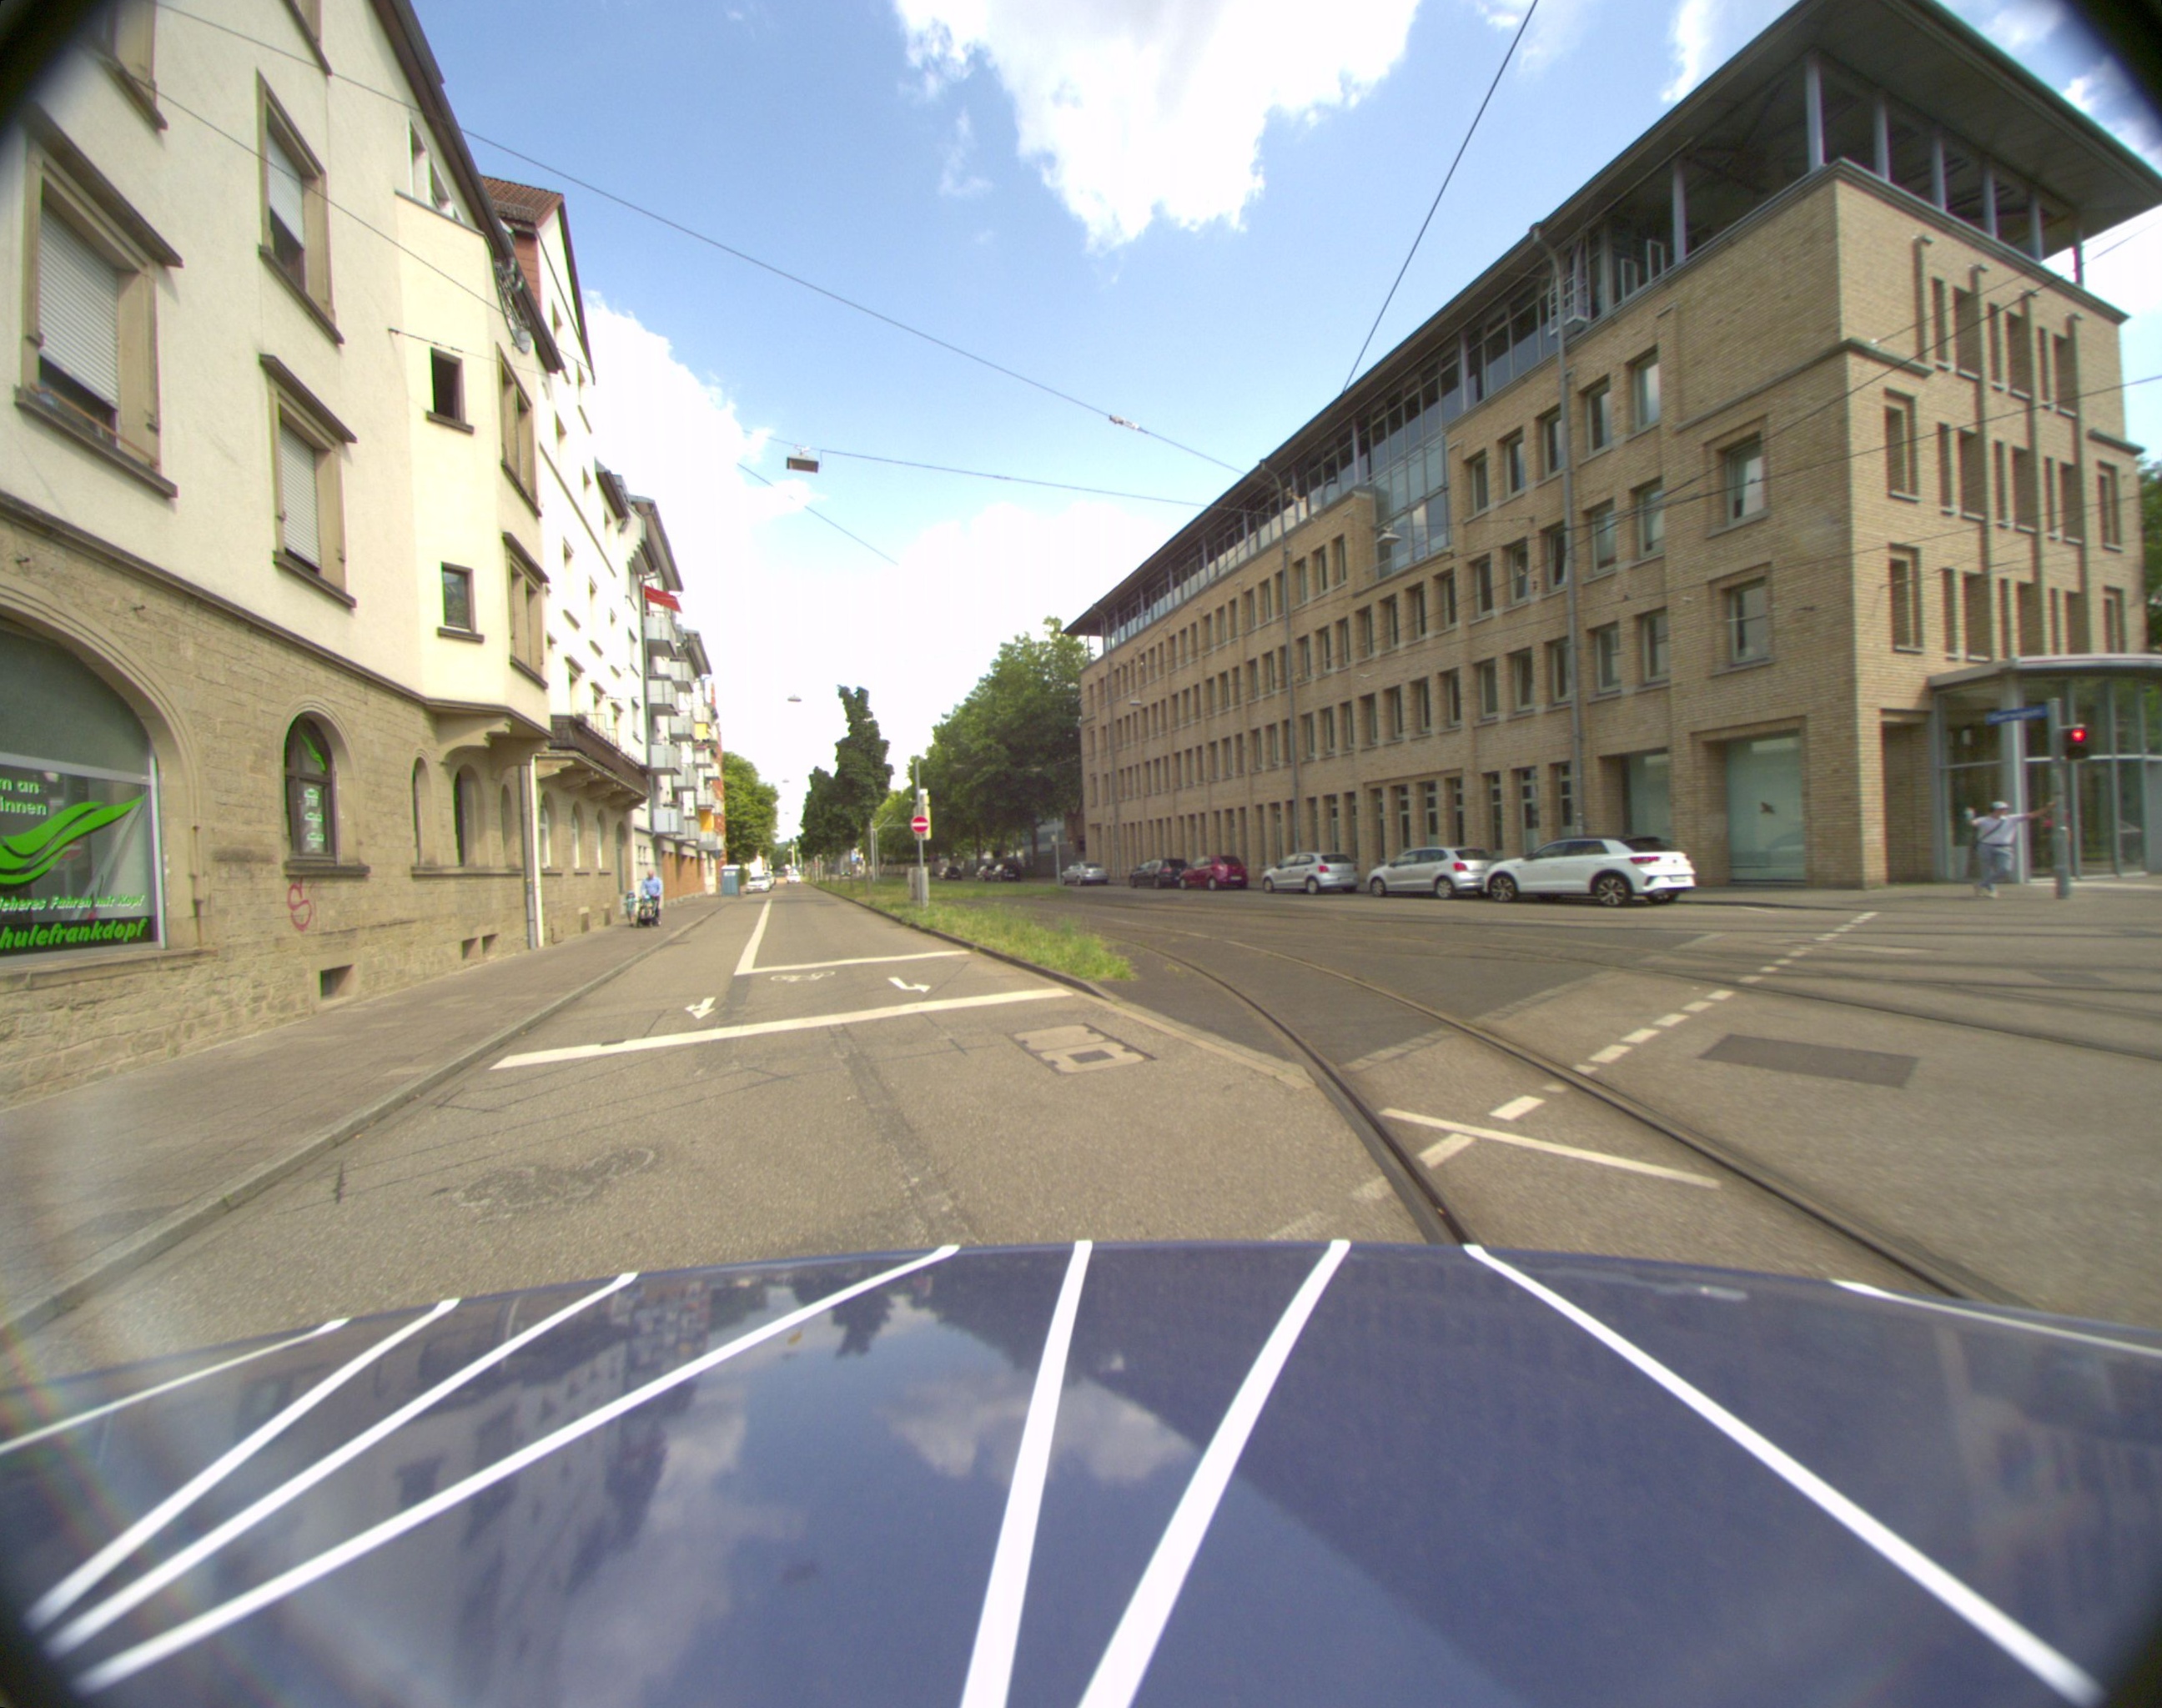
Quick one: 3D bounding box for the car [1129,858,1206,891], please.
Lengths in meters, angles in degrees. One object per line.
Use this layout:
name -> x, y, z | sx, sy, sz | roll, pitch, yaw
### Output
car -> 4.045, 0.965, 36.224 | 1.941, 1.388, 4.232 | -2, 0, -20

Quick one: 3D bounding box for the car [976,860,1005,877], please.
car -> -8.020, 1.282, 67.332 | 1.561, 1.417, 3.895 | -2, 0, -21

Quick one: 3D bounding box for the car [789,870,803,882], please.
car -> -41.661, 3.182, 111.132 | 1.804, 1.521, 4.034 | -4, 0, -21

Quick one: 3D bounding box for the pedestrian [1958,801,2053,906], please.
pedestrian -> 16.384, -0.001, 13.494 | 0.957, 1.785, 0.764 | -2, 1, 44

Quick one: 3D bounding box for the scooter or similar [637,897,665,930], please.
scooter or similar -> -13.401, 1.846, 23.672 | 0.595, 0.996, 0.904 | 2, -1, -20

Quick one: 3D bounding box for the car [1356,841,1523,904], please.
car -> 9.962, 0.503, 21.479 | 1.941, 1.521, 4.008 | -2, 0, -20

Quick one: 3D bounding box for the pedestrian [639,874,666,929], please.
pedestrian -> -13.711, 1.493, 24.337 | 0.623, 1.728, 0.876 | 0, -1, -20

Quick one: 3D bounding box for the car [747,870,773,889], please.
car -> -27.312, 2.145, 64.698 | 1.804, 1.521, 4.034 | -3, 0, -21

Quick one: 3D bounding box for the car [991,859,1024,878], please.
car -> -6.076, 1.206, 62.215 | 1.810, 1.444, 3.994 | -2, 0, -18

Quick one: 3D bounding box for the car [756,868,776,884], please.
car -> -32.975, 2.316, 79.542 | 1.804, 1.521, 4.034 | -4, 0, -21

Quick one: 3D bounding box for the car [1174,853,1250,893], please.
car -> 5.533, 0.792, 32.481 | 1.589, 1.521, 3.544 | -2, 0, -20

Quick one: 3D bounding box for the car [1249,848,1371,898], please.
car -> 7.826, 0.630, 26.408 | 1.858, 1.521, 4.203 | -2, 0, -20

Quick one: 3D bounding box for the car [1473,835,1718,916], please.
car -> 11.443, 0.456, 17.305 | 1.941, 1.526, 4.251 | -2, 0, -20

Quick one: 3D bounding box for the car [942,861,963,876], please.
car -> -13.882, 1.554, 81.994 | 1.604, 1.455, 3.994 | -2, 0, -19

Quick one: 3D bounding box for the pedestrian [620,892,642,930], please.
pedestrian -> -14.197, 1.796, 23.979 | 0.458, 1.128, 0.493 | -3, 0, -20

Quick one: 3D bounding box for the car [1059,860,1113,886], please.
car -> 0.246, 1.130, 45.899 | 1.722, 1.388, 4.477 | -2, 0, -20
